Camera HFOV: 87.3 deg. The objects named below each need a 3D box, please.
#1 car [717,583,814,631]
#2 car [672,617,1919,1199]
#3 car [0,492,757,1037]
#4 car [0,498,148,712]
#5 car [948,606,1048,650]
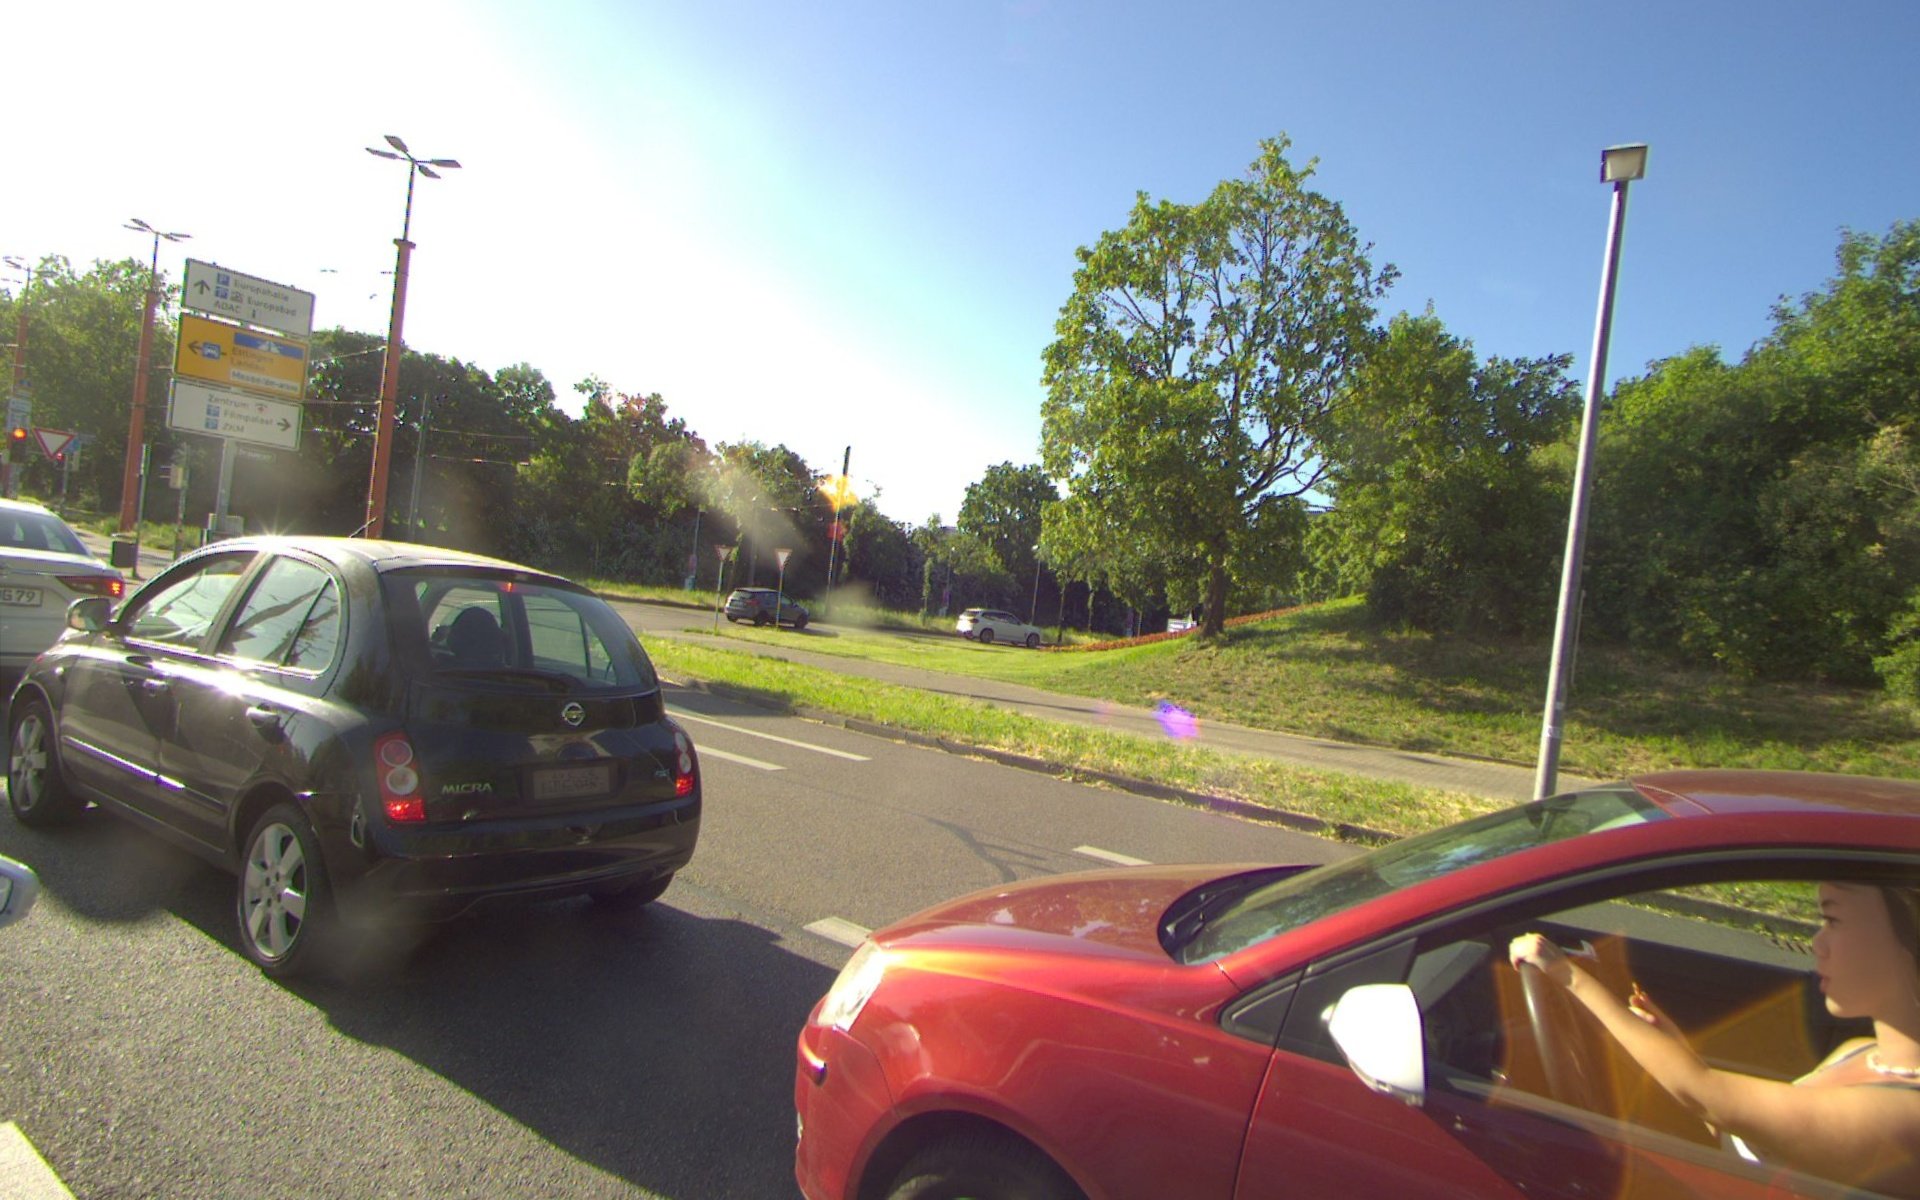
[{"bbox_3d":[-7.784,0.305,40.562,1.721,1.486,3.889,7,-1,27],"label":"car"},{"bbox_3d":[1.364,0.991,1.899,3.634,1.434,1.624,7,-1,34],"label":"car"},{"bbox_3d":[-2.828,0.465,4.630,3.457,1.524,1.558,7,0,32],"label":"car"},{"bbox_3d":[-8.353,-0.162,7.983,4.077,1.472,1.717,7,-1,33],"label":"car"},{"bbox_3d":[1.967,1.427,51.420,4.745,1.617,1.899,8,-1,-30],"label":"car"}]
